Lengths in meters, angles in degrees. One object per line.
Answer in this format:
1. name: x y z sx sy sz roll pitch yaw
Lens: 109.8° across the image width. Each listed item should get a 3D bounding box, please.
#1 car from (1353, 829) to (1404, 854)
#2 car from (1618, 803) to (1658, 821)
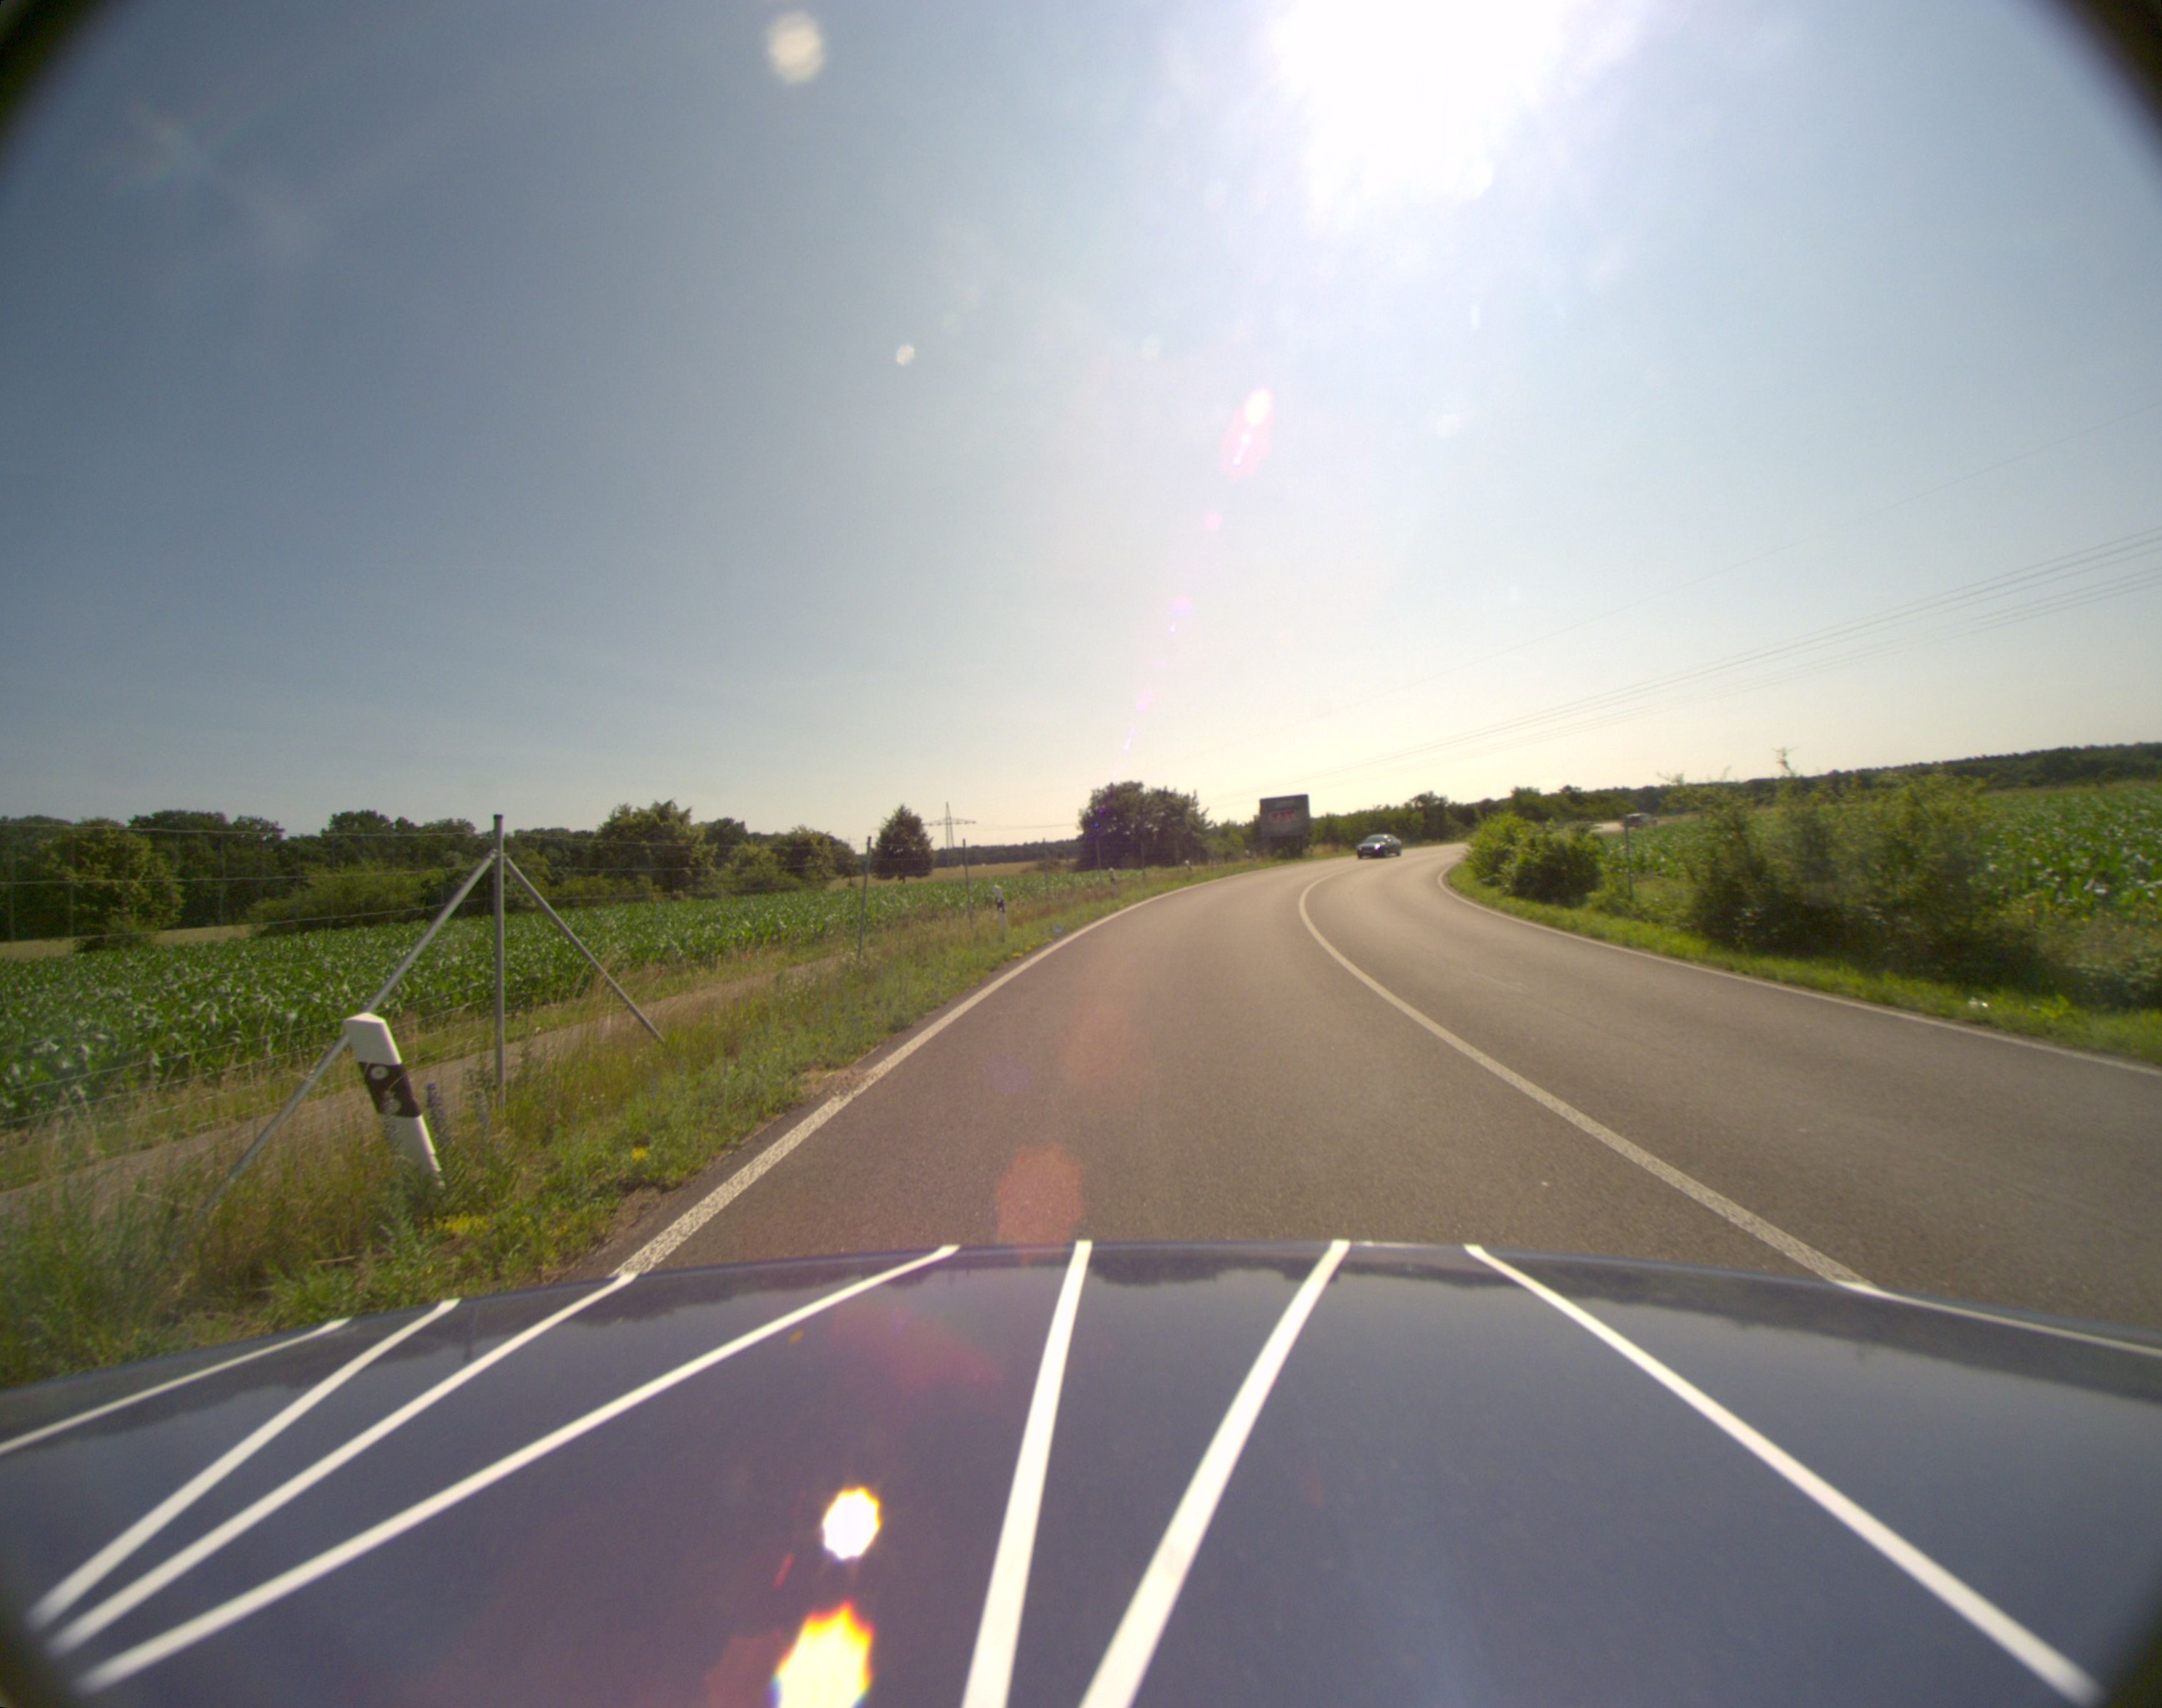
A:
1. car: 18.897 -0.792 48.204 1.882 1.448 4.083 0 2 39
2. car: 54.872 -4.134 74.790 5.143 1.473 1.867 -7 4 -38
